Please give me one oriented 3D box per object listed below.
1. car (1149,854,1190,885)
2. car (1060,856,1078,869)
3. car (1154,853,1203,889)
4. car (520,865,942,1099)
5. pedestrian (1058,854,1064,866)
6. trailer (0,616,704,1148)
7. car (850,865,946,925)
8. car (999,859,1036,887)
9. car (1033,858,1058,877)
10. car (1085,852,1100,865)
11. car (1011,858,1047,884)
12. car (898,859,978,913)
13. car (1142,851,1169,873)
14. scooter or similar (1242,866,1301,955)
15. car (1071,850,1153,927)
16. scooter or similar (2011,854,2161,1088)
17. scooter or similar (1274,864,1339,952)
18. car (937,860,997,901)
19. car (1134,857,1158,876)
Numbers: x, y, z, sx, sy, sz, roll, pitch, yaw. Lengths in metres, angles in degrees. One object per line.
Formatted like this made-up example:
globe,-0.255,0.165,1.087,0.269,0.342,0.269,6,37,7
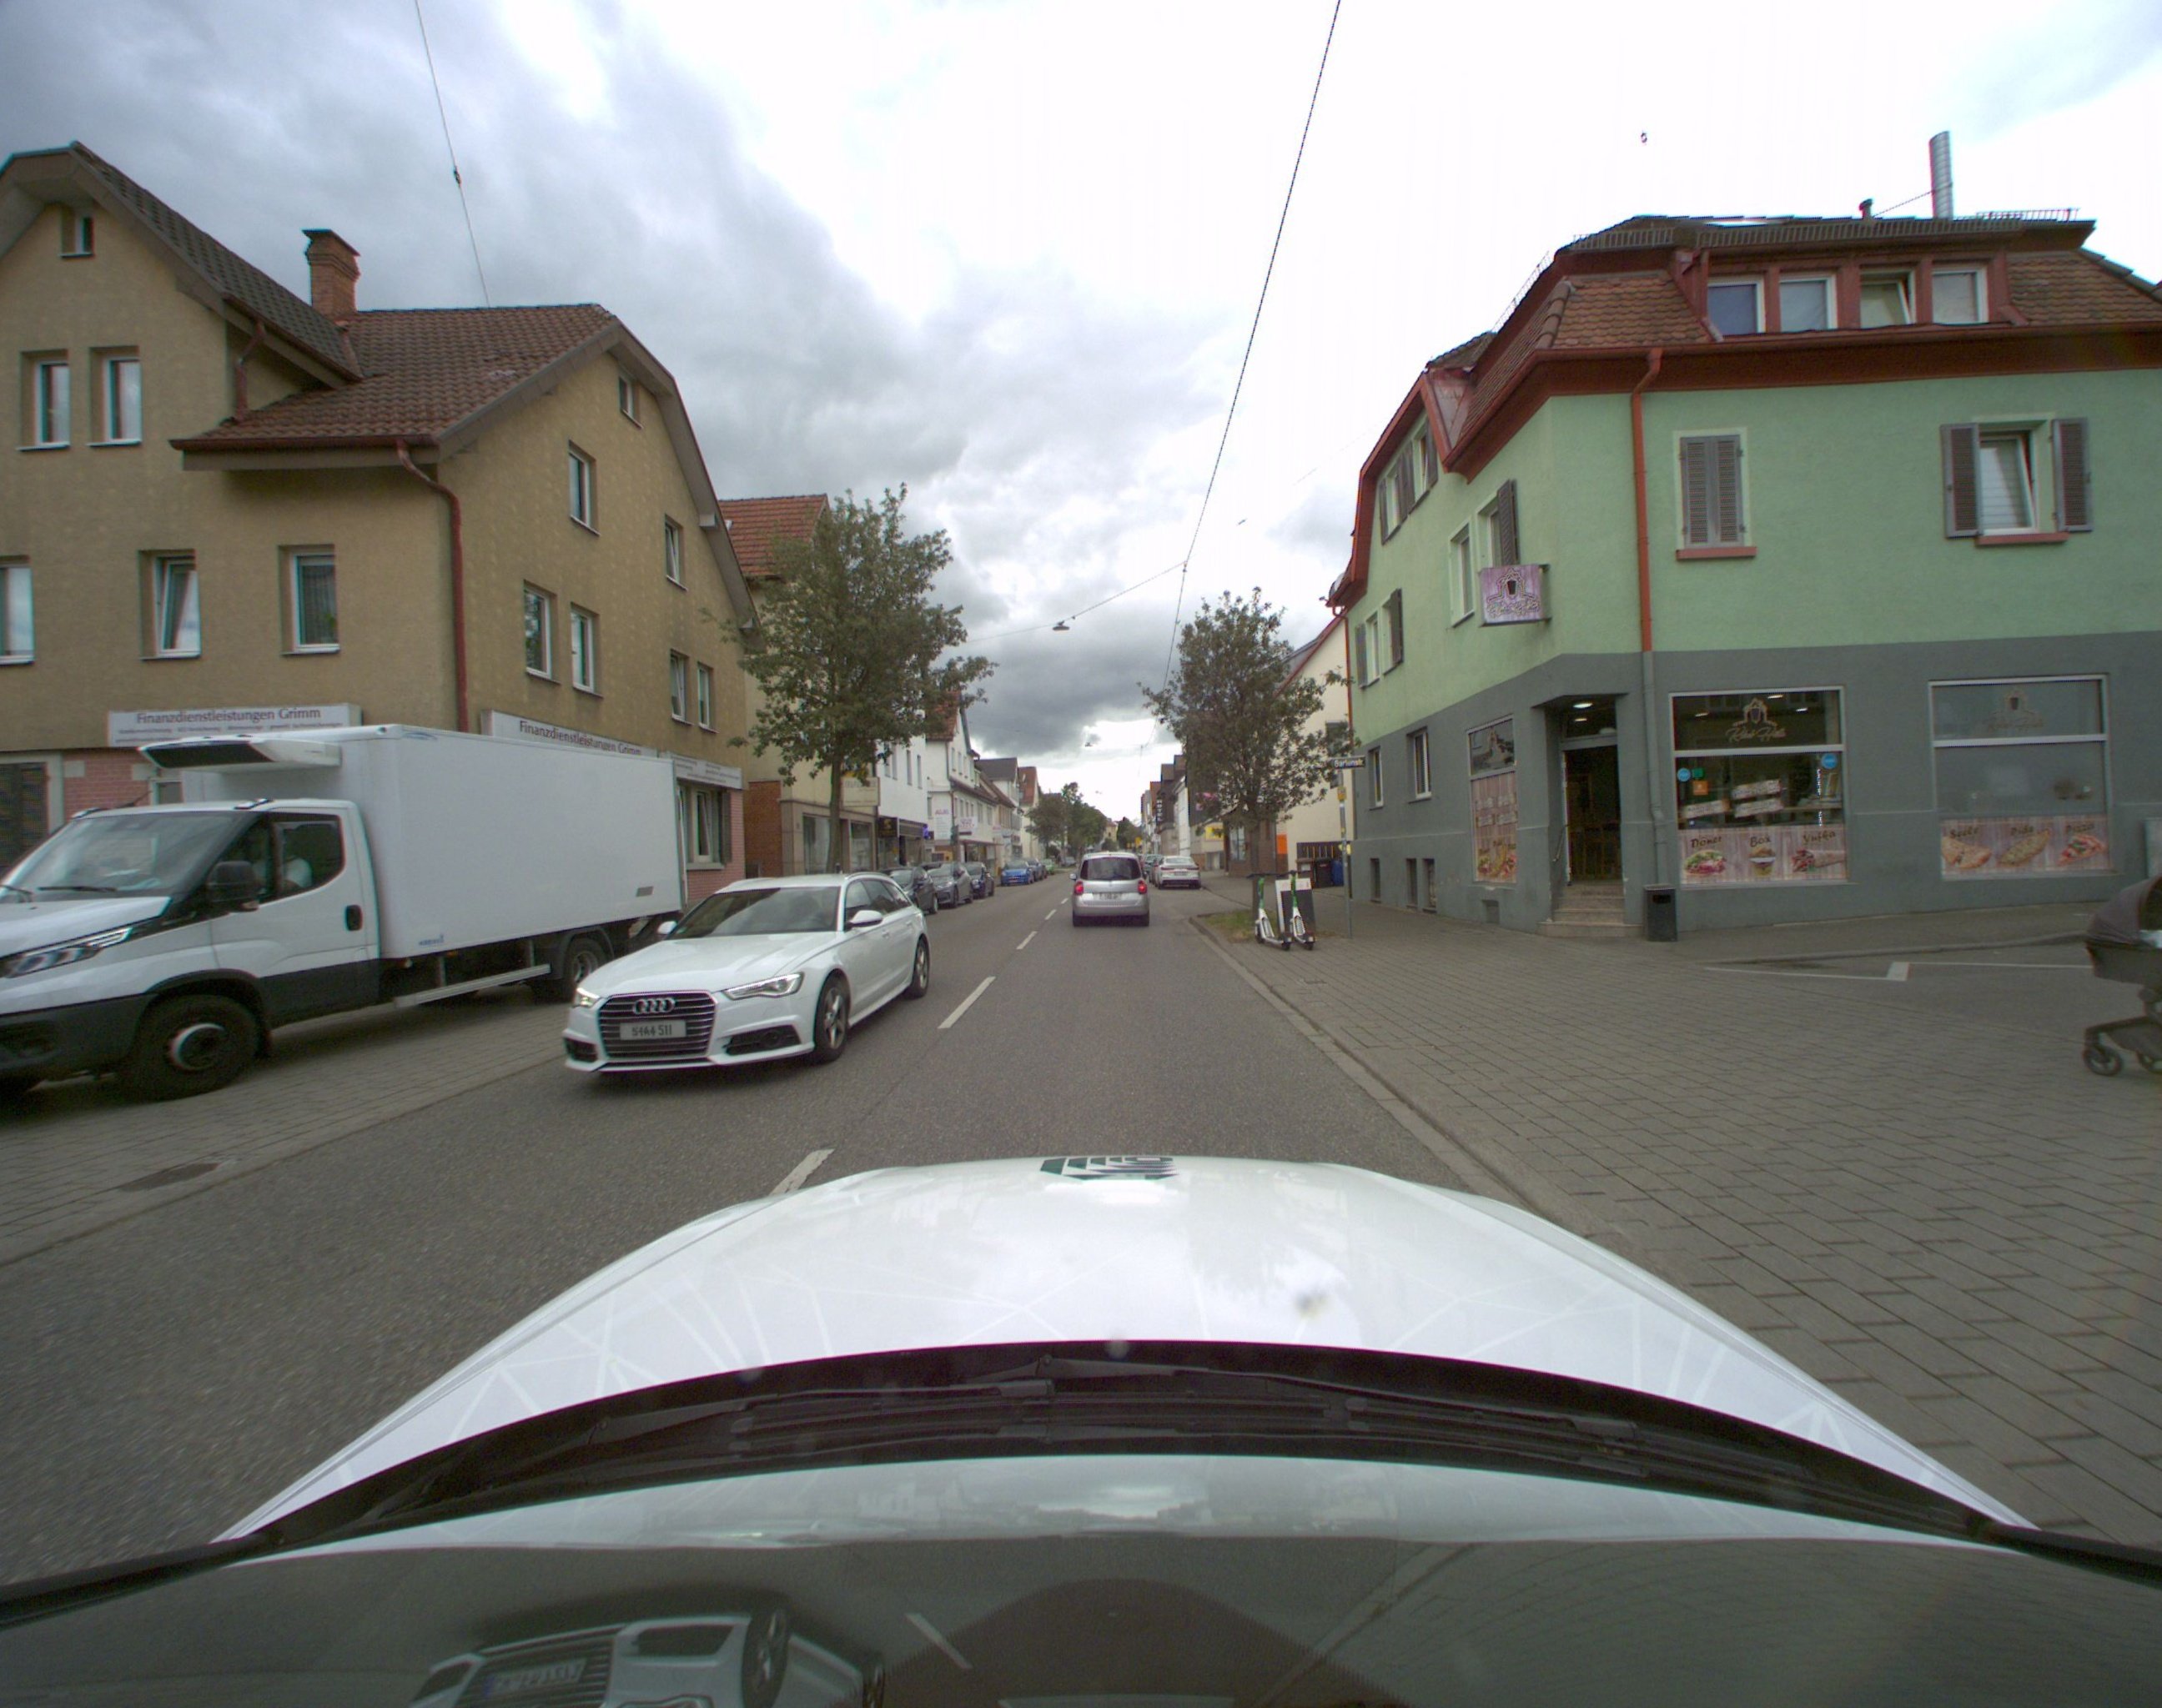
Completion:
car,4.464,0.762,41.509,1.823,1.446,4.113,-1,0,3
car,-1.504,1.095,106.061,1.940,1.467,4.519,-4,0,3
car,4.179,0.722,35.517,1.823,1.446,4.335,-1,0,3
car,-2.755,0.893,7.754,1.836,1.433,4.545,-3,0,2
pedestrian,-2.908,0.878,117.340,0.760,1.791,0.890,-1,-1,2
trailer,-7.283,0.146,8.592,2.489,3.219,7.150,-1,1,7
car,-5.080,1.095,23.117,1.676,1.424,3.932,-4,0,2
car,-3.784,1.115,49.325,1.675,1.499,3.778,-4,0,3
car,-3.082,1.162,71.017,1.675,1.447,4.023,-4,0,3
car,1.715,0.598,116.710,1.893,1.737,4.369,-4,0,3
car,-3.483,1.105,55.307,1.796,1.599,4.308,-4,0,3
car,-4.765,1.026,27.753,1.703,1.566,4.116,-4,0,3
car,5.500,0.587,60.296,1.823,1.497,3.996,-1,0,3
scooter or similar,2.934,0.827,12.681,0.500,1.235,1.943,-1,0,2
car,0.743,0.718,18.783,1.675,1.566,3.996,-1,0,3
scooter or similar,6.023,0.621,4.564,0.587,1.233,0.892,-1,-1,1
scooter or similar,3.465,0.792,12.648,0.500,1.235,1.943,-1,0,2
car,-4.602,1.033,33.398,1.675,1.493,3.594,-4,0,3
car,5.200,1.013,65.624,1.748,1.446,4.458,-1,0,3
